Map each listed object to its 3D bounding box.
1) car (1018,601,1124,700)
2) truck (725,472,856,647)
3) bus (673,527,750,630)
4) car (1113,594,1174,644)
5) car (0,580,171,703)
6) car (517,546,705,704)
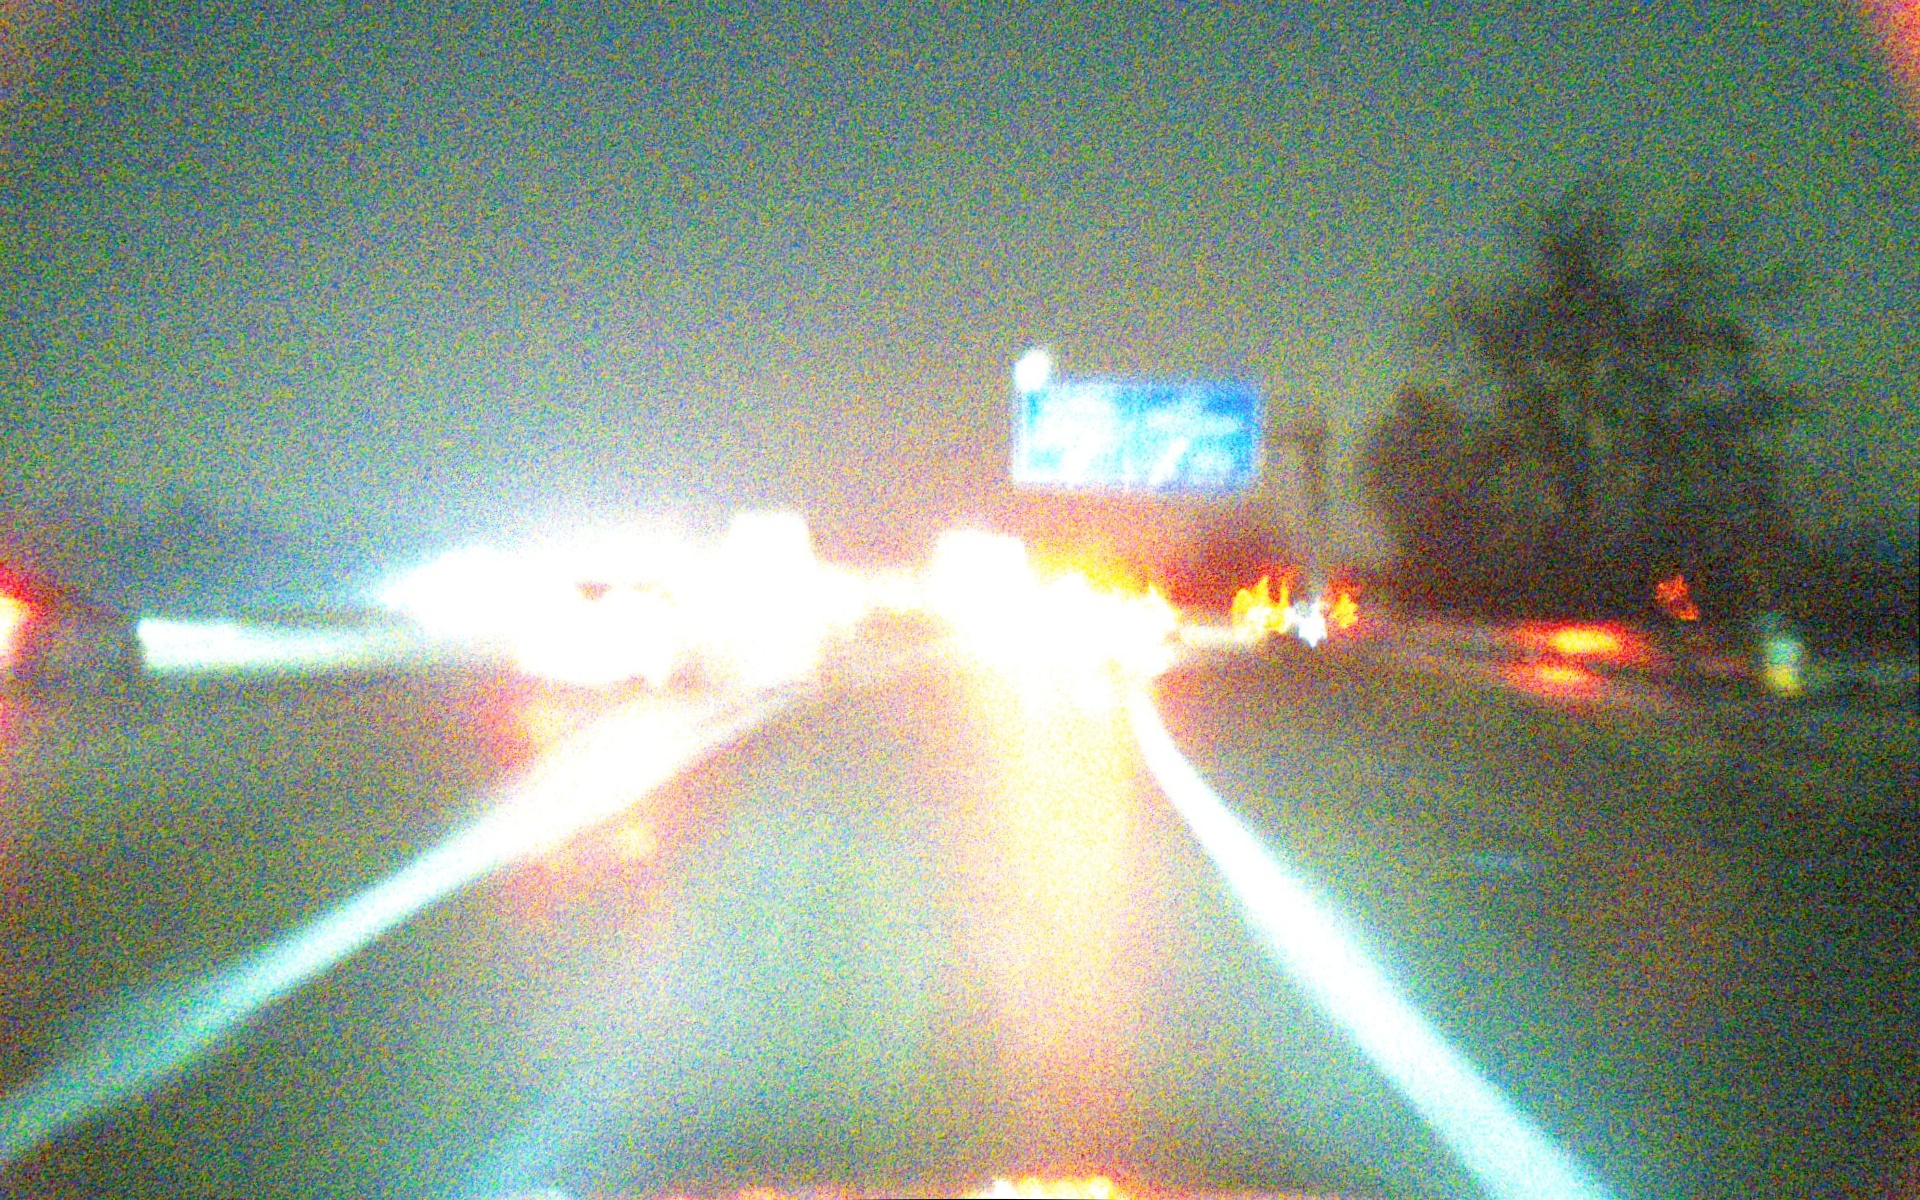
[{"bbox_3d":[2.187,0.964,33.547,1.952,1.839,4.001,1,0,2],"label":"car"},{"bbox_3d":[-6.051,-1.350,61.179,4.126,5.747,11.460,1,0,-3],"label":"truck"},{"bbox_3d":[-11.900,-0.984,80.106,3.037,4.587,10.899,1,0,-6],"label":"bus"},{"bbox_3d":[7.178,0.737,64.437,1.951,1.839,4.003,1,0,12],"label":"car"},{"bbox_3d":[-12.894,0.490,22.548,1.954,1.502,5.162,1,0,-3],"label":"car"},{"bbox_3d":[-4.990,0.333,24.284,2.084,2.049,4.641,1,0,-5],"label":"car"}]
